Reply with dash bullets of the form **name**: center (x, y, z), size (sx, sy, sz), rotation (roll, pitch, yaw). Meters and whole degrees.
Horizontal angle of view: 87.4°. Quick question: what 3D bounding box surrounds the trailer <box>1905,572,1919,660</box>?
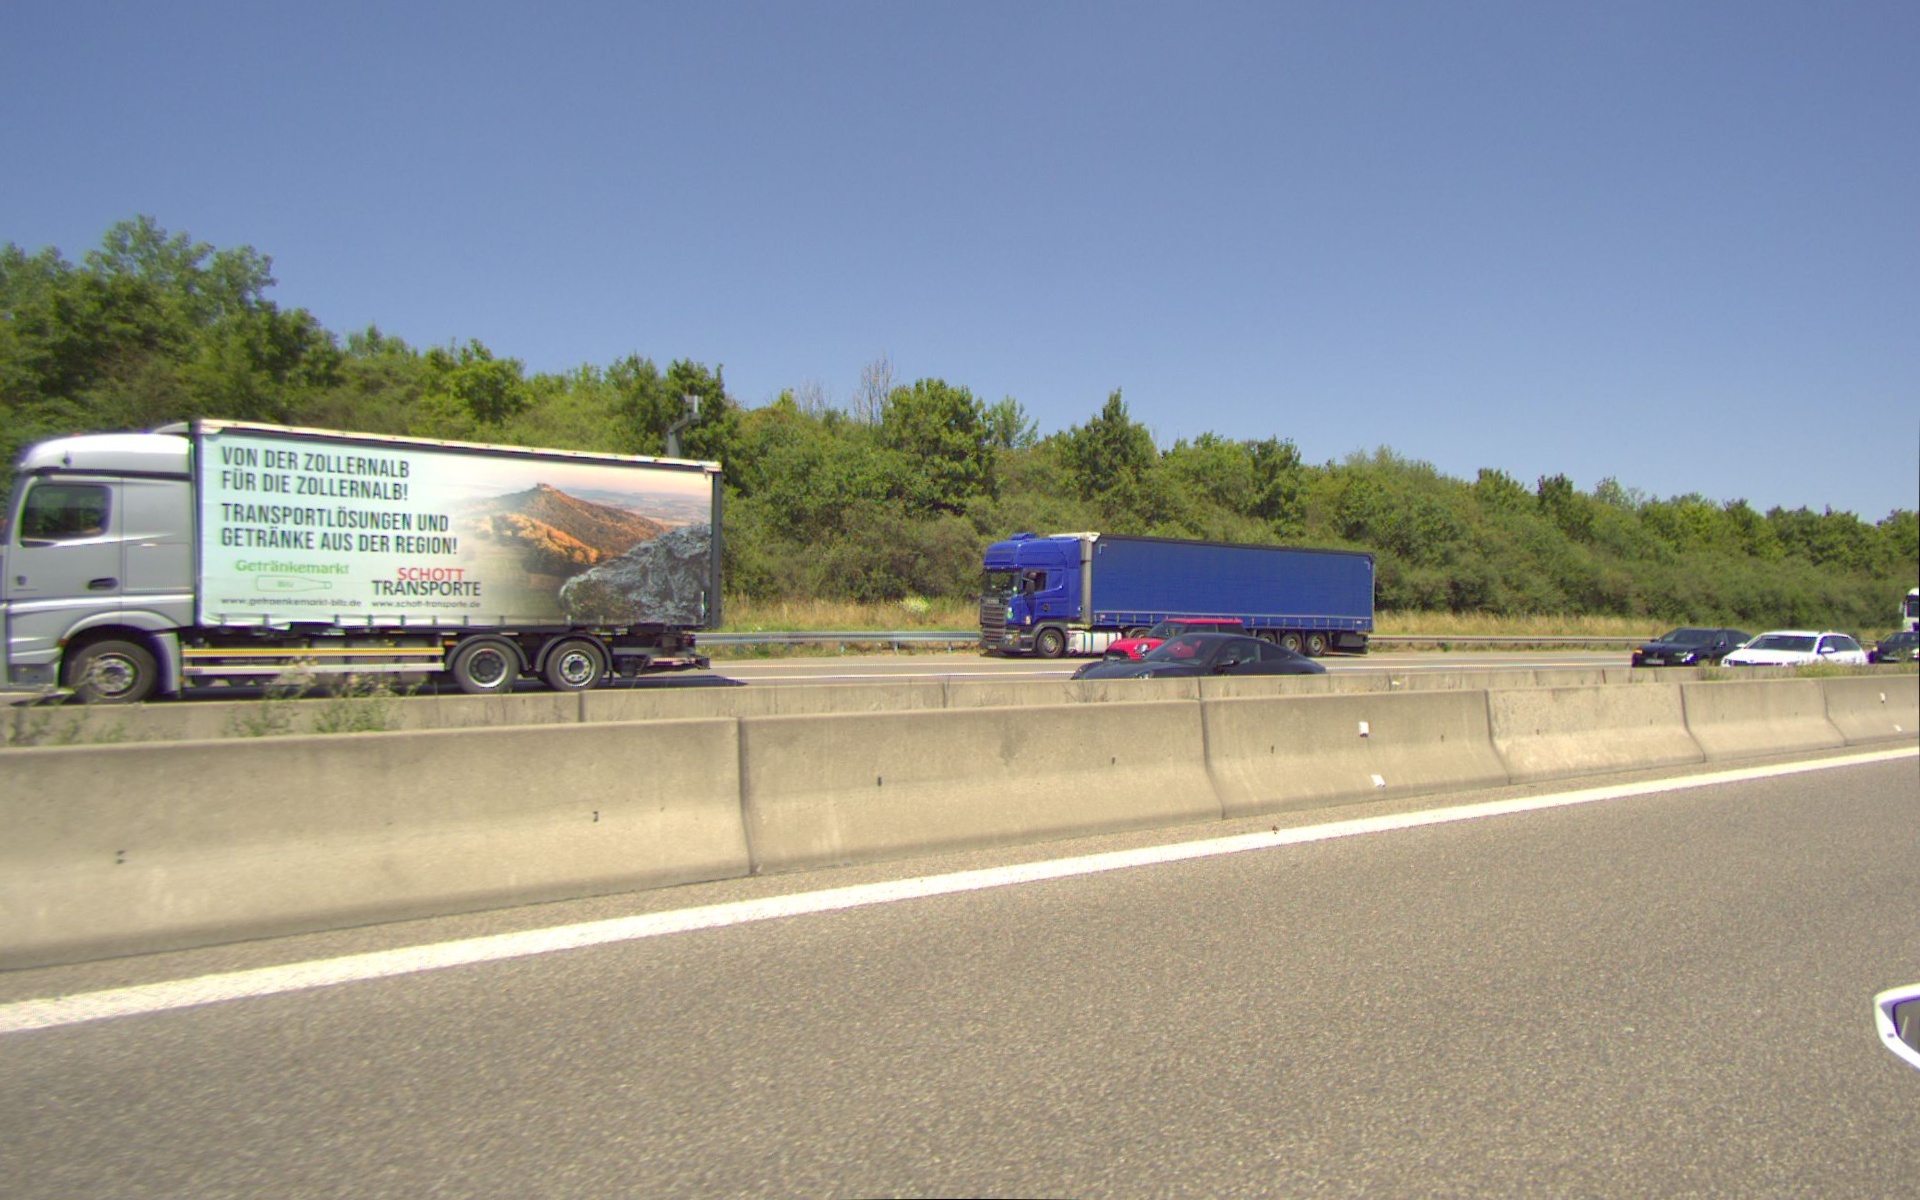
- **trailer**: center (55.424, 0.939, 53.618), size (13.610, 4.480, 3.208), rotation (1, -1, -29)

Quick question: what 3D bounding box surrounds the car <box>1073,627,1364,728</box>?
- **car**: center (3.902, 1.086, 14.980), size (4.172, 1.293, 1.782), rotation (2, -1, -30)

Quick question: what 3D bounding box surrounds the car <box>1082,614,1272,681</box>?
- **car**: center (5.064, 1.087, 23.411), size (4.155, 1.423, 1.742), rotation (1, -1, -26)

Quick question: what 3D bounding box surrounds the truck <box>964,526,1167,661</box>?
- **truck**: center (3.517, -0.177, 33.315), size (6.020, 4.083, 3.075), rotation (1, 0, -29)

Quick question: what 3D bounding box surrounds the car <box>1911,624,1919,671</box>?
- **car**: center (32.799, 1.550, 32.313), size (4.737, 1.464, 1.984), rotation (1, -1, -30)

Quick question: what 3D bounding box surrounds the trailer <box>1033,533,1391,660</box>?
- **trailer**: center (9.531, -0.021, 36.545), size (14.313, 4.024, 3.068), rotation (1, 0, -29)

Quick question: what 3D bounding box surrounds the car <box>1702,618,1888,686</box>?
- **car**: center (21.023, 1.277, 25.242), size (5.091, 1.540, 1.984), rotation (2, -1, -30)

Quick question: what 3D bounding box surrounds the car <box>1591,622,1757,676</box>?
- **car**: center (20.966, 1.413, 29.491), size (4.566, 1.469, 1.873), rotation (1, -1, -23)

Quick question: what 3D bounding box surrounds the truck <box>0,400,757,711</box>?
- **truck**: center (-8.781, -0.463, 16.581), size (10.232, 3.969, 2.995), rotation (1, -1, -30)

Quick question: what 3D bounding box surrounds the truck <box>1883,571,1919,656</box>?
- **truck**: center (49.729, 0.704, 50.469), size (6.107, 4.187, 3.186), rotation (1, -1, -29)

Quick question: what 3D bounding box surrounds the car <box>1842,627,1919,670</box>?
- **car**: center (36.485, 1.875, 38.893), size (4.250, 1.540, 1.987), rotation (1, -1, -26)
